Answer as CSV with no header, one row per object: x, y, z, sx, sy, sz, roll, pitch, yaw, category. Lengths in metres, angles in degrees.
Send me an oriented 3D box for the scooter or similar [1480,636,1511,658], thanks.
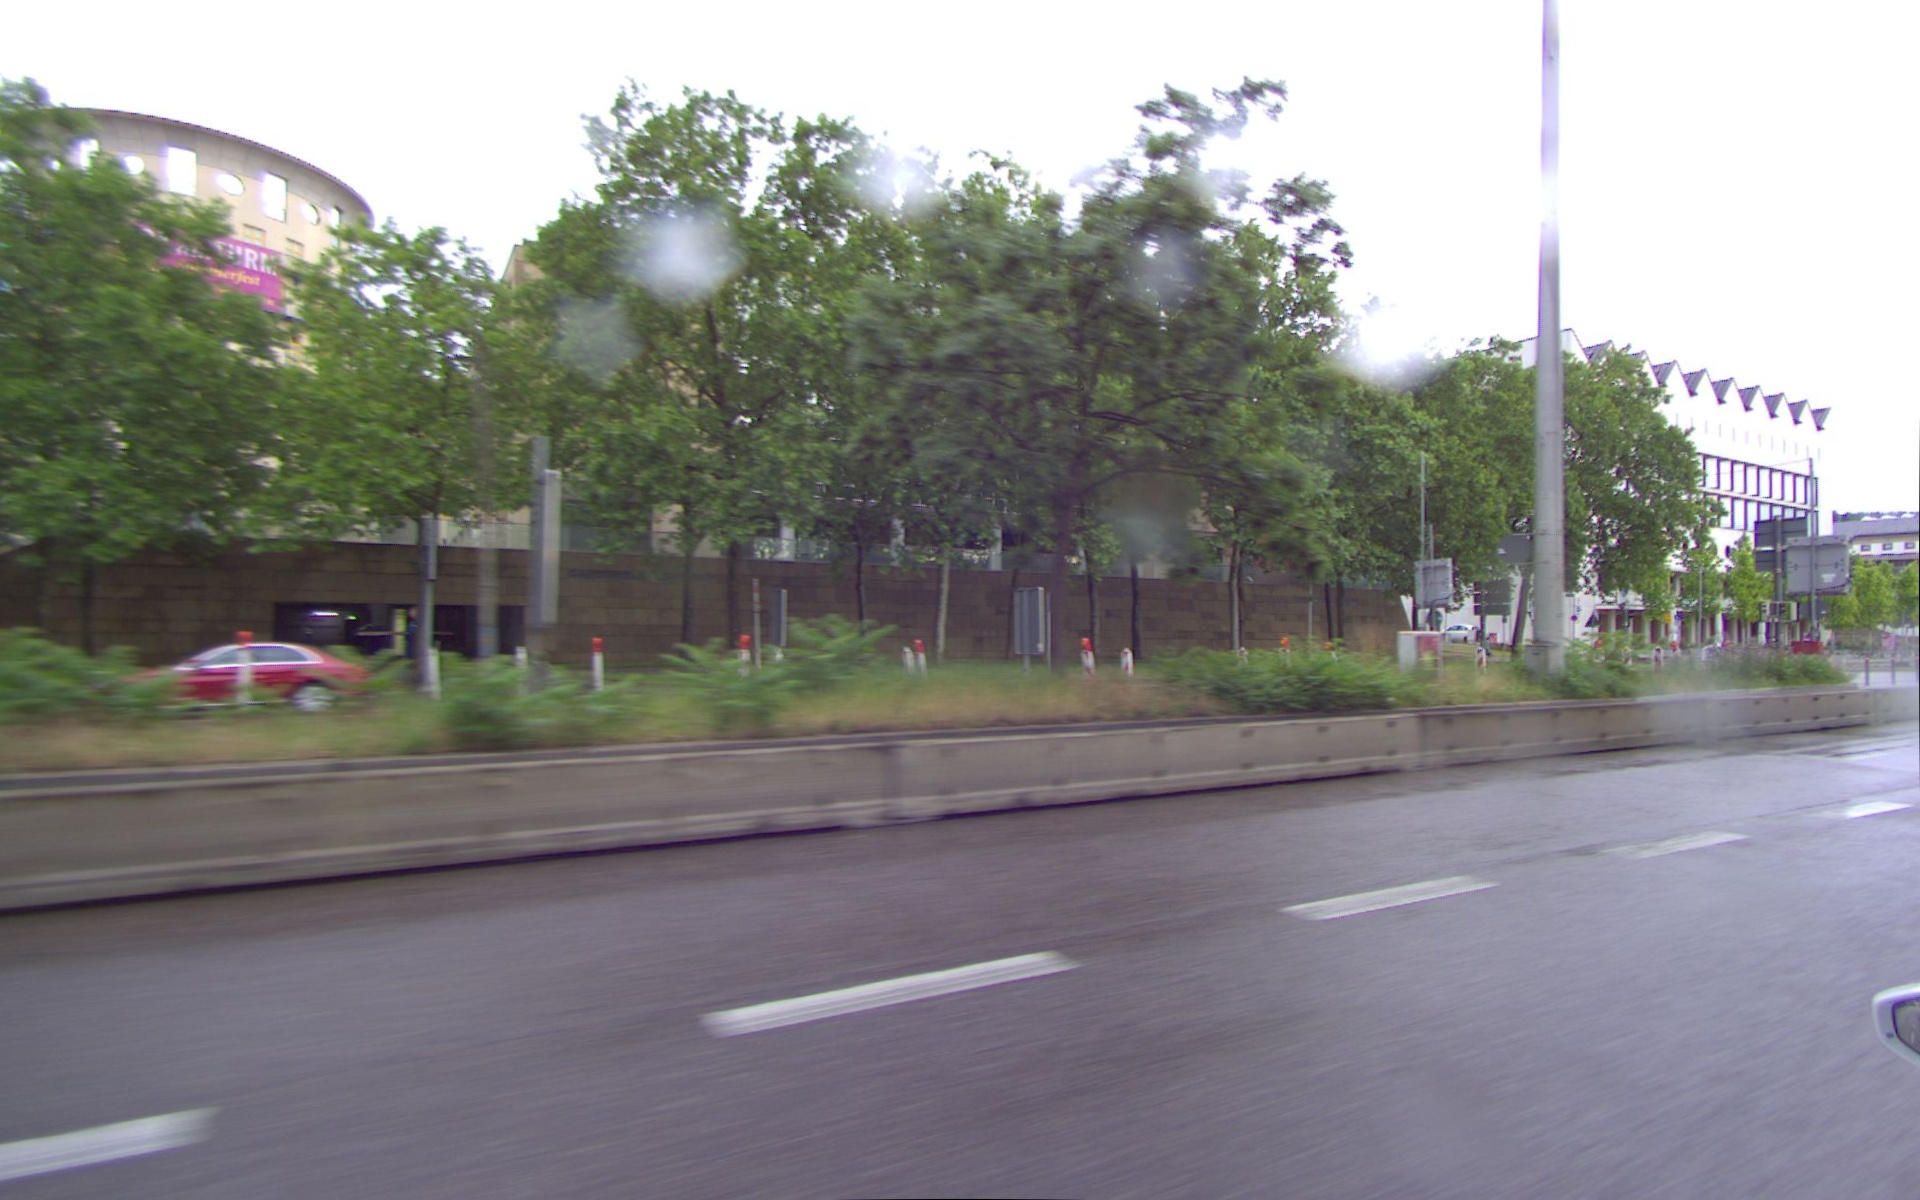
34.218,3.029,64.185,1.645,1.369,0.714,1,-3,-10,scooter or similar

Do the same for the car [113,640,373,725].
-14.095,1.628,20.088,3.953,1.550,1.985,3,-4,-30,car

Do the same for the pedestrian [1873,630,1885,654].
78.500,3.578,85.796,0.531,2.039,0.530,-1,-4,25,pedestrian

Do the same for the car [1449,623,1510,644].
41.739,2.693,80.755,1.978,1.617,3.966,2,-2,-32,car

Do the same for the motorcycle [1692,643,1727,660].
50.646,3.472,67.891,1.809,1.169,0.426,-1,-3,33,motorcycle

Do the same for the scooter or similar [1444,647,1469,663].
32.764,3.618,66.251,0.429,1.031,1.669,1,-4,-18,scooter or similar

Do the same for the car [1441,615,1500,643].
42.245,2.378,83.198,1.972,2.041,3.975,-3,3,-24,car
